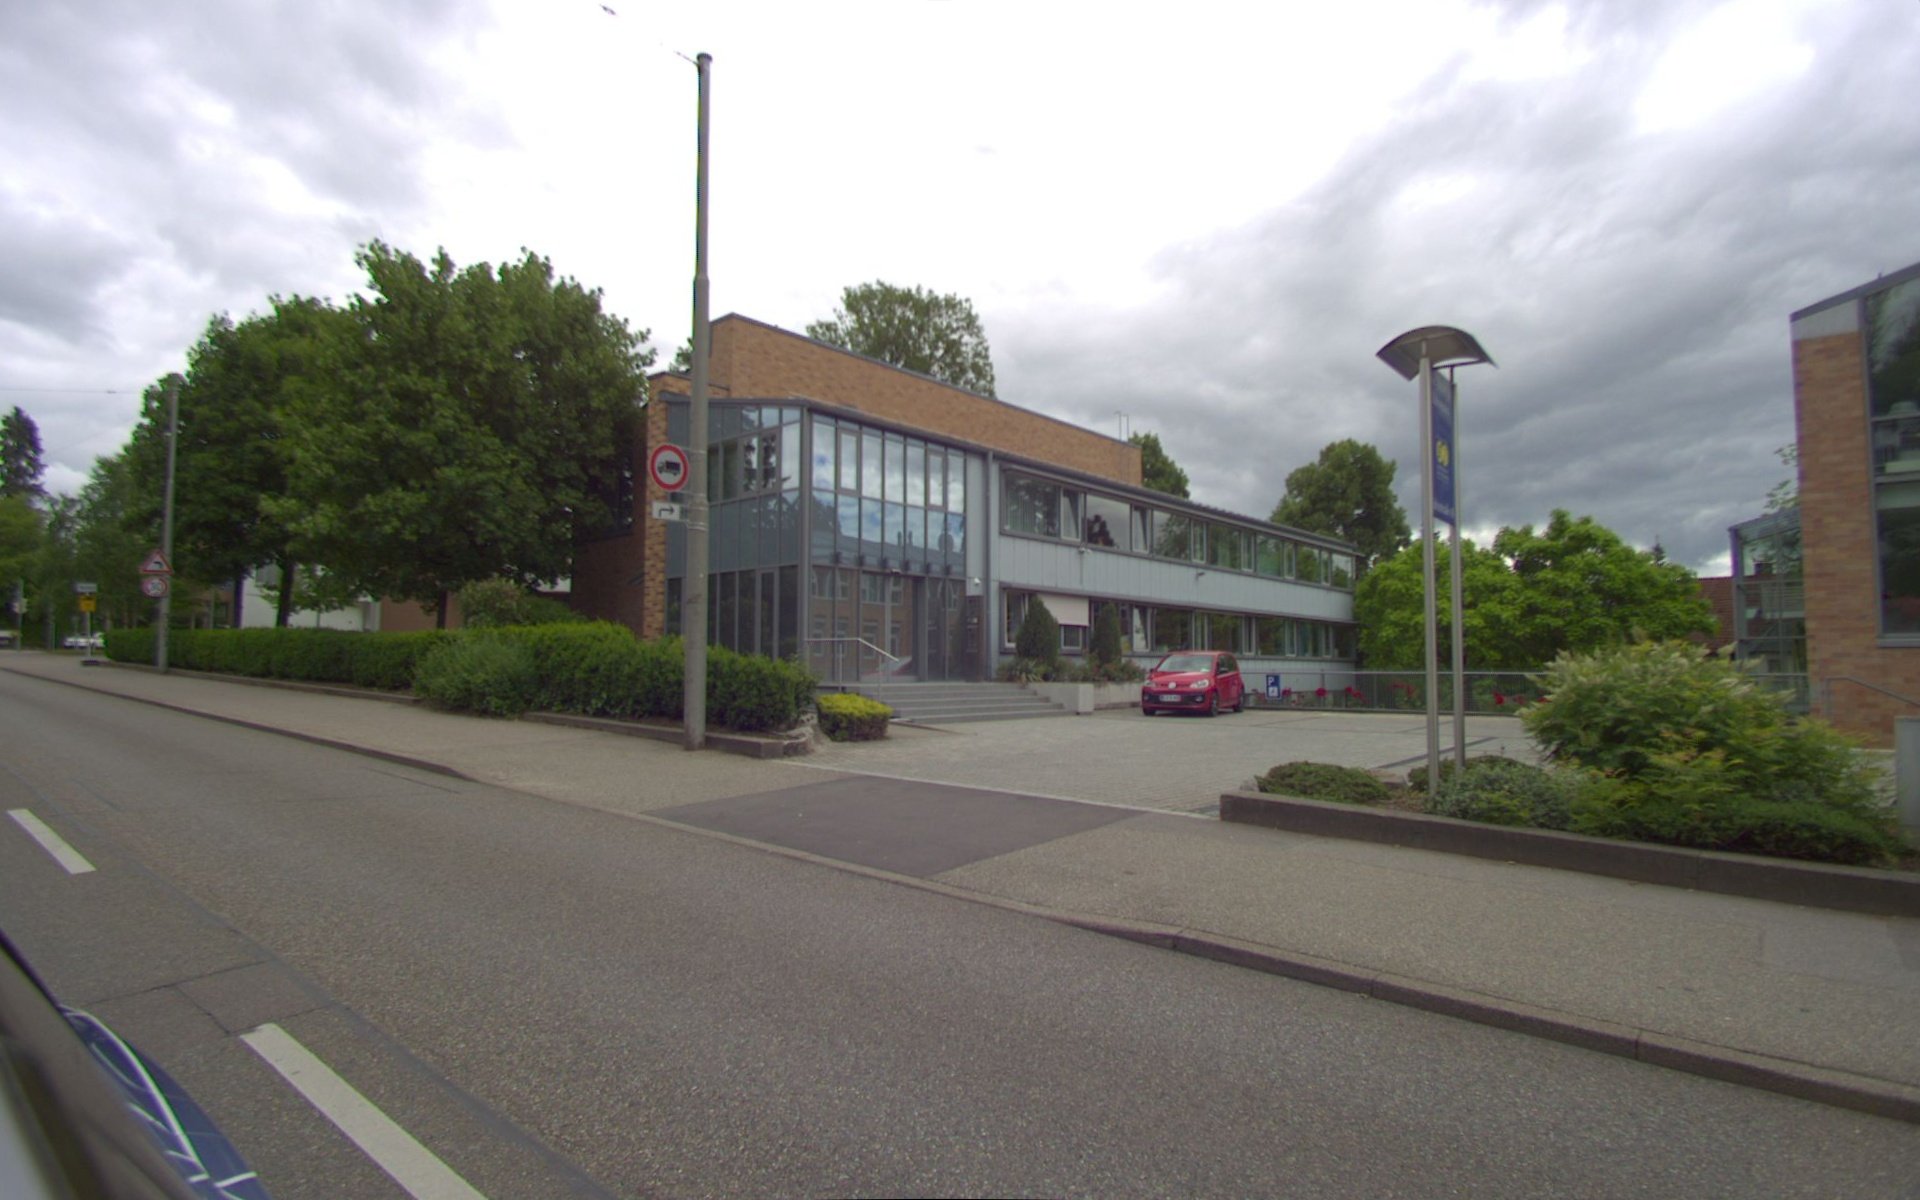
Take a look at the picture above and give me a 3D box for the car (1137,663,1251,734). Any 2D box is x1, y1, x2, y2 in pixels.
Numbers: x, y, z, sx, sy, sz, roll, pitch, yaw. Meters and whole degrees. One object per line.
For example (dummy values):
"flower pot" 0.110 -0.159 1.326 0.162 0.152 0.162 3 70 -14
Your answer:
"car" 5.442 2.197 23.286 1.650 1.503 3.422 -2 -4 29

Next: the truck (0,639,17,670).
"truck" -72.501 3.788 72.690 6.610 2.205 2.534 6 -6 -39

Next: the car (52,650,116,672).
"car" -69.362 4.854 80.210 1.967 1.625 4.009 3 -5 -11
